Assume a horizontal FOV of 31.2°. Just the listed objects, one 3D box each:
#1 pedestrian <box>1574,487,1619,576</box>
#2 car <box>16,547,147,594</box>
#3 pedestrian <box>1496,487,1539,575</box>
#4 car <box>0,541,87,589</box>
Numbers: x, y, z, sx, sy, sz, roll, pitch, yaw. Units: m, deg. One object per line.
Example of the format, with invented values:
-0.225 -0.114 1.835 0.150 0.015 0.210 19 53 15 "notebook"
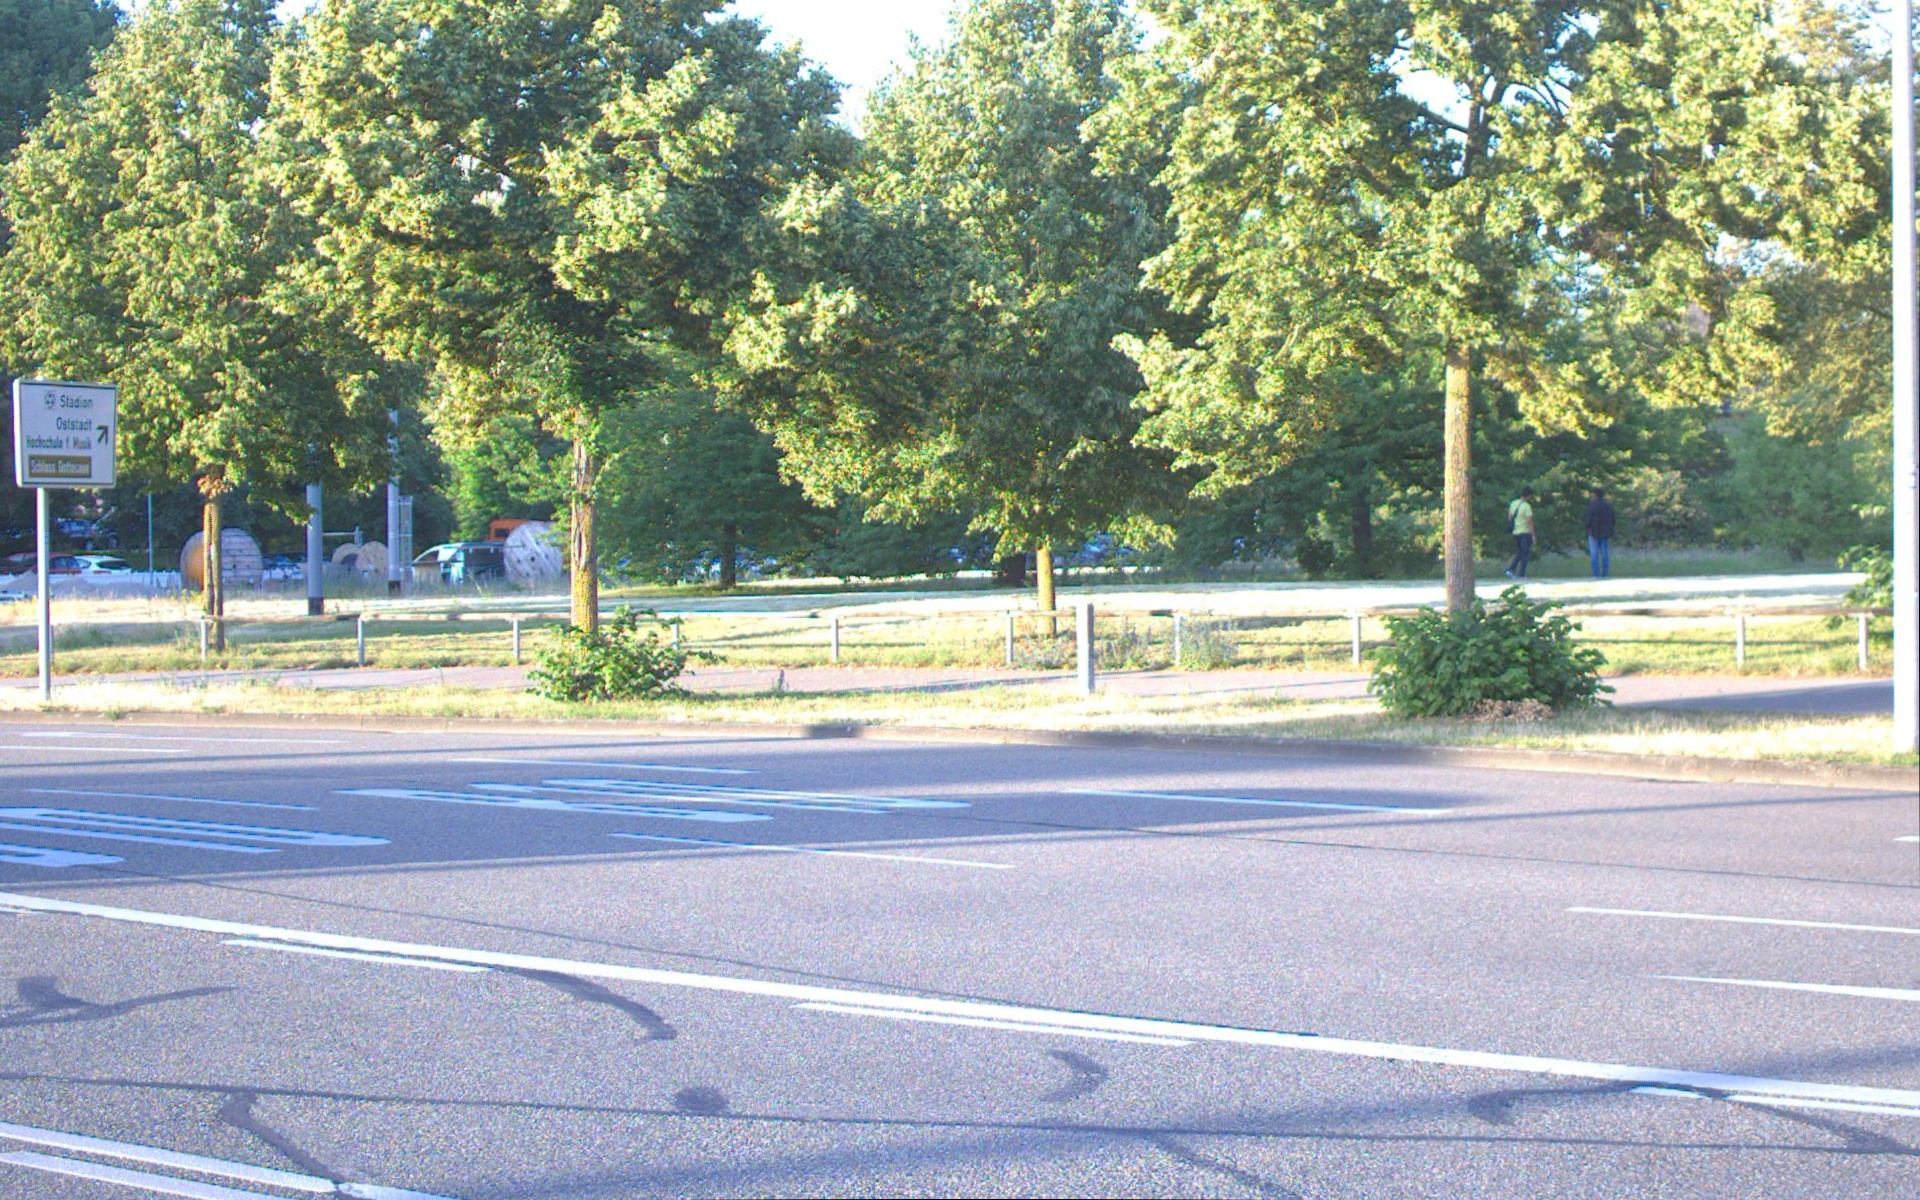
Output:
11.770 -1.268 63.571 0.618 1.621 0.530 -1 1 -32 "pedestrian"
-29.689 -0.995 116.197 3.993 1.545 1.997 0 1 29 "car"
10.346 -1.273 63.802 0.579 1.621 0.533 -1 1 -20 "pedestrian"
-31.208 -1.153 114.172 3.993 1.545 1.997 0 1 29 "car"
